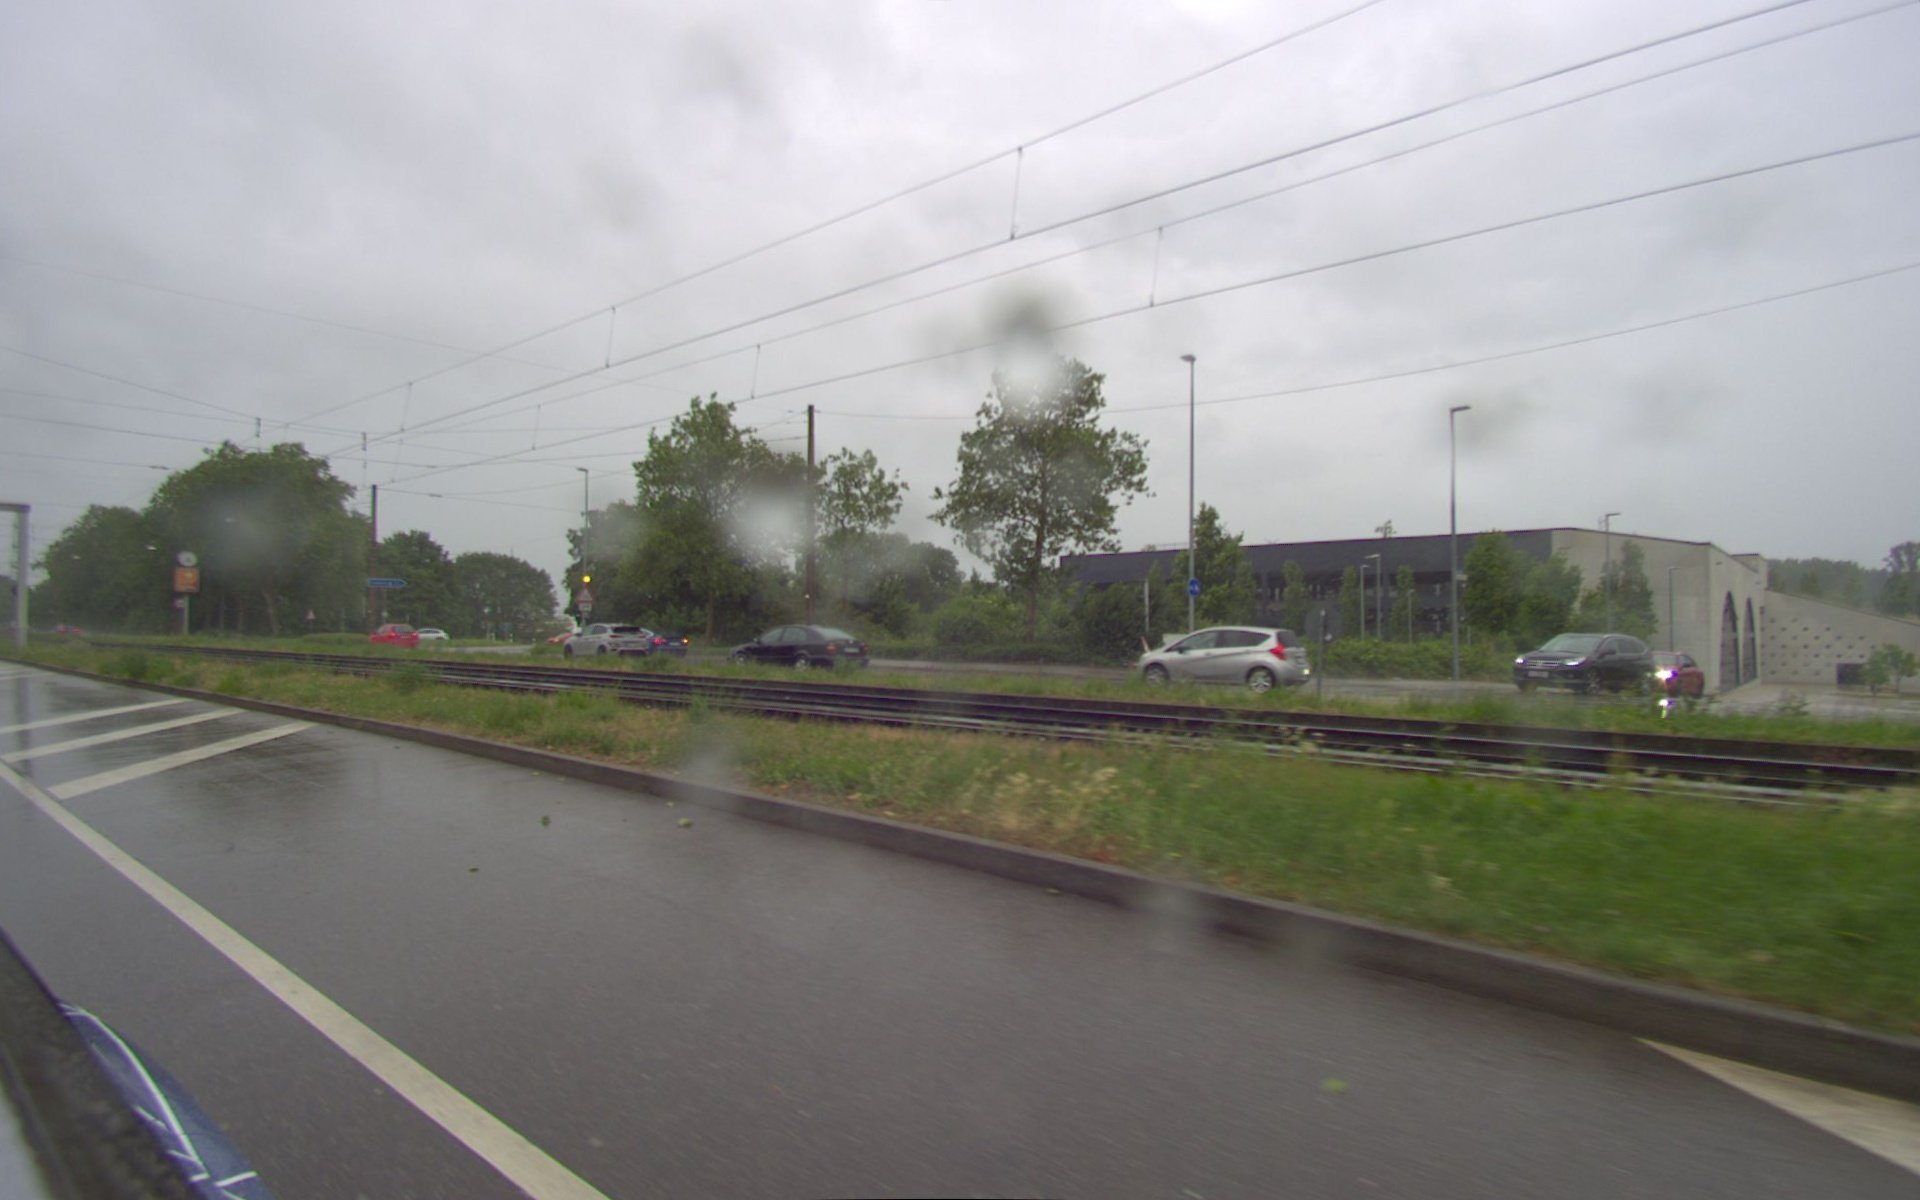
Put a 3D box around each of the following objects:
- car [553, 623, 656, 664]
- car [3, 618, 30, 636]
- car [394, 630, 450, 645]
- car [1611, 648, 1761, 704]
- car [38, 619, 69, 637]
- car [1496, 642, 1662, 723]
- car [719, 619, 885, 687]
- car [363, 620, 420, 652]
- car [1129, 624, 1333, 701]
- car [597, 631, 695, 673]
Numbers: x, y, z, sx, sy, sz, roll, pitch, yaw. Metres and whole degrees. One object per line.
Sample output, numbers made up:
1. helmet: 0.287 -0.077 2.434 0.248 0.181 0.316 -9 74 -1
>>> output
1. car: -14.107 1.674 40.034 4.296 1.497 1.973 -1 -1 40
2. car: -110.805 3.171 118.889 3.999 2.029 1.972 -1 -1 42
3. car: -51.350 3.569 96.671 1.608 1.366 4.425 -1 -1 45
4. car: 22.030 2.255 30.686 4.299 1.453 2.006 0 -1 -29
5. car: -104.497 3.210 116.631 4.514 2.029 1.951 -1 -1 38
6. car: 16.327 2.104 26.687 3.931 1.874 2.006 0 -1 -29
7. car: -4.250 1.395 26.845 4.379 1.608 1.972 -2 -6 42
8. car: -30.632 1.921 54.469 3.618 1.602 1.585 -1 -1 41
9. car: 6.200 1.432 23.345 4.090 1.608 1.973 -1 -5 40
10. car: -13.845 2.226 44.505 4.535 1.694 1.973 -1 -1 40
